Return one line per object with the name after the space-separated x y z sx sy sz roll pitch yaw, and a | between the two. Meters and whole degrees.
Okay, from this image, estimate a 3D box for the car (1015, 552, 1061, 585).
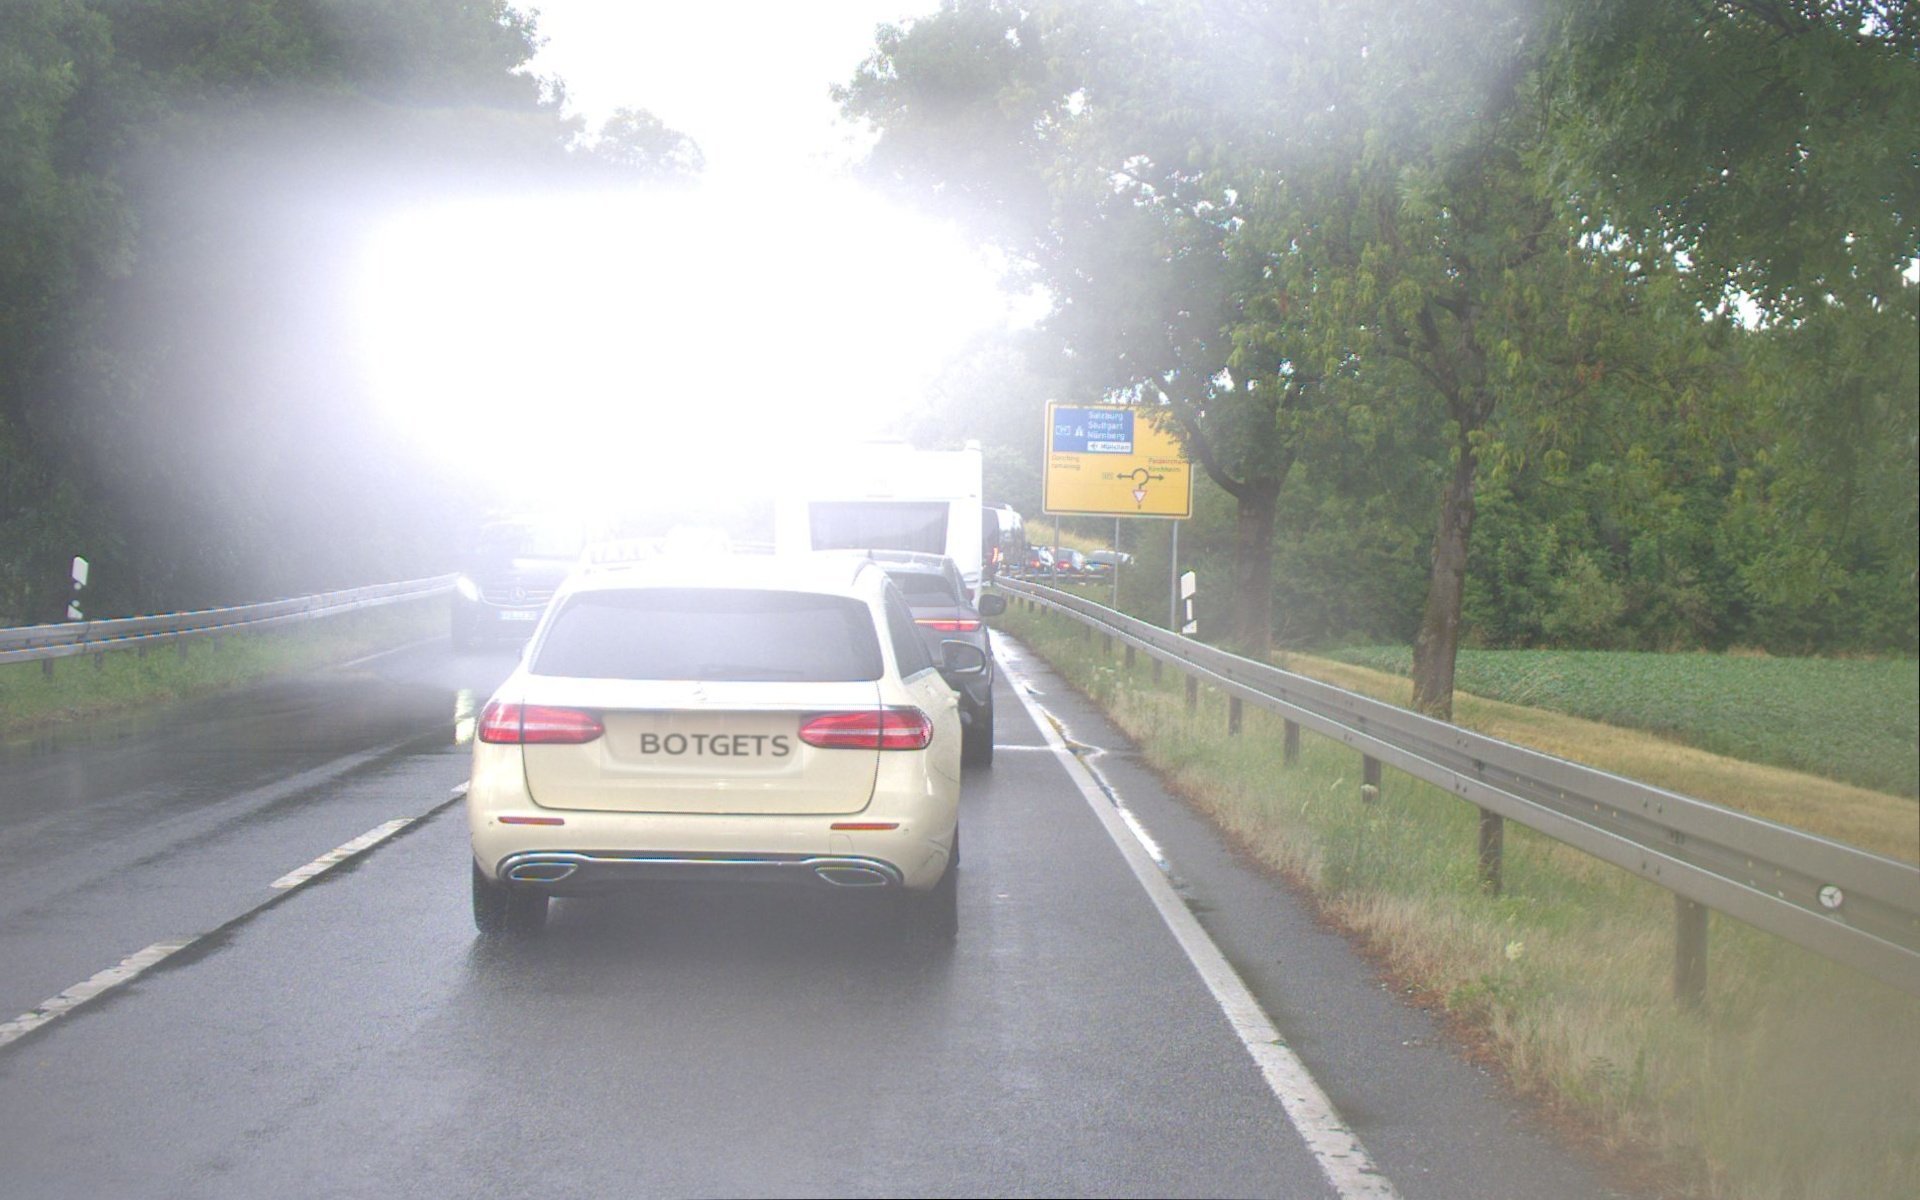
2.771 -1.125 122.023 1.551 1.114 4.000 1 0 0 | car

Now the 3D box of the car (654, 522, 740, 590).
-5.759 -0.974 75.614 1.628 1.433 3.960 1 1 -1 | car

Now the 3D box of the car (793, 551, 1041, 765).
-0.268 0.363 25.232 1.664 1.426 4.000 0 1 1 | car

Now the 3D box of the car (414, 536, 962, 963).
-0.948 0.487 13.975 1.865 1.471 4.000 0 1 1 | car

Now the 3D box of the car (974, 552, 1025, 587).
1.269 -0.998 112.746 1.551 1.114 4.000 1 0 -1 | car

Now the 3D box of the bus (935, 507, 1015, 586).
0.362 -1.384 89.089 1.993 2.007 4.000 0 1 -1 | bus

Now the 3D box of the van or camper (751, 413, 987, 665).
-0.958 -0.710 39.991 2.489 2.676 5.700 1 1 1 | van or camper

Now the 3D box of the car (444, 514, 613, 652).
-5.901 -0.264 47.409 1.828 1.796 4.415 0 1 -1 | car
